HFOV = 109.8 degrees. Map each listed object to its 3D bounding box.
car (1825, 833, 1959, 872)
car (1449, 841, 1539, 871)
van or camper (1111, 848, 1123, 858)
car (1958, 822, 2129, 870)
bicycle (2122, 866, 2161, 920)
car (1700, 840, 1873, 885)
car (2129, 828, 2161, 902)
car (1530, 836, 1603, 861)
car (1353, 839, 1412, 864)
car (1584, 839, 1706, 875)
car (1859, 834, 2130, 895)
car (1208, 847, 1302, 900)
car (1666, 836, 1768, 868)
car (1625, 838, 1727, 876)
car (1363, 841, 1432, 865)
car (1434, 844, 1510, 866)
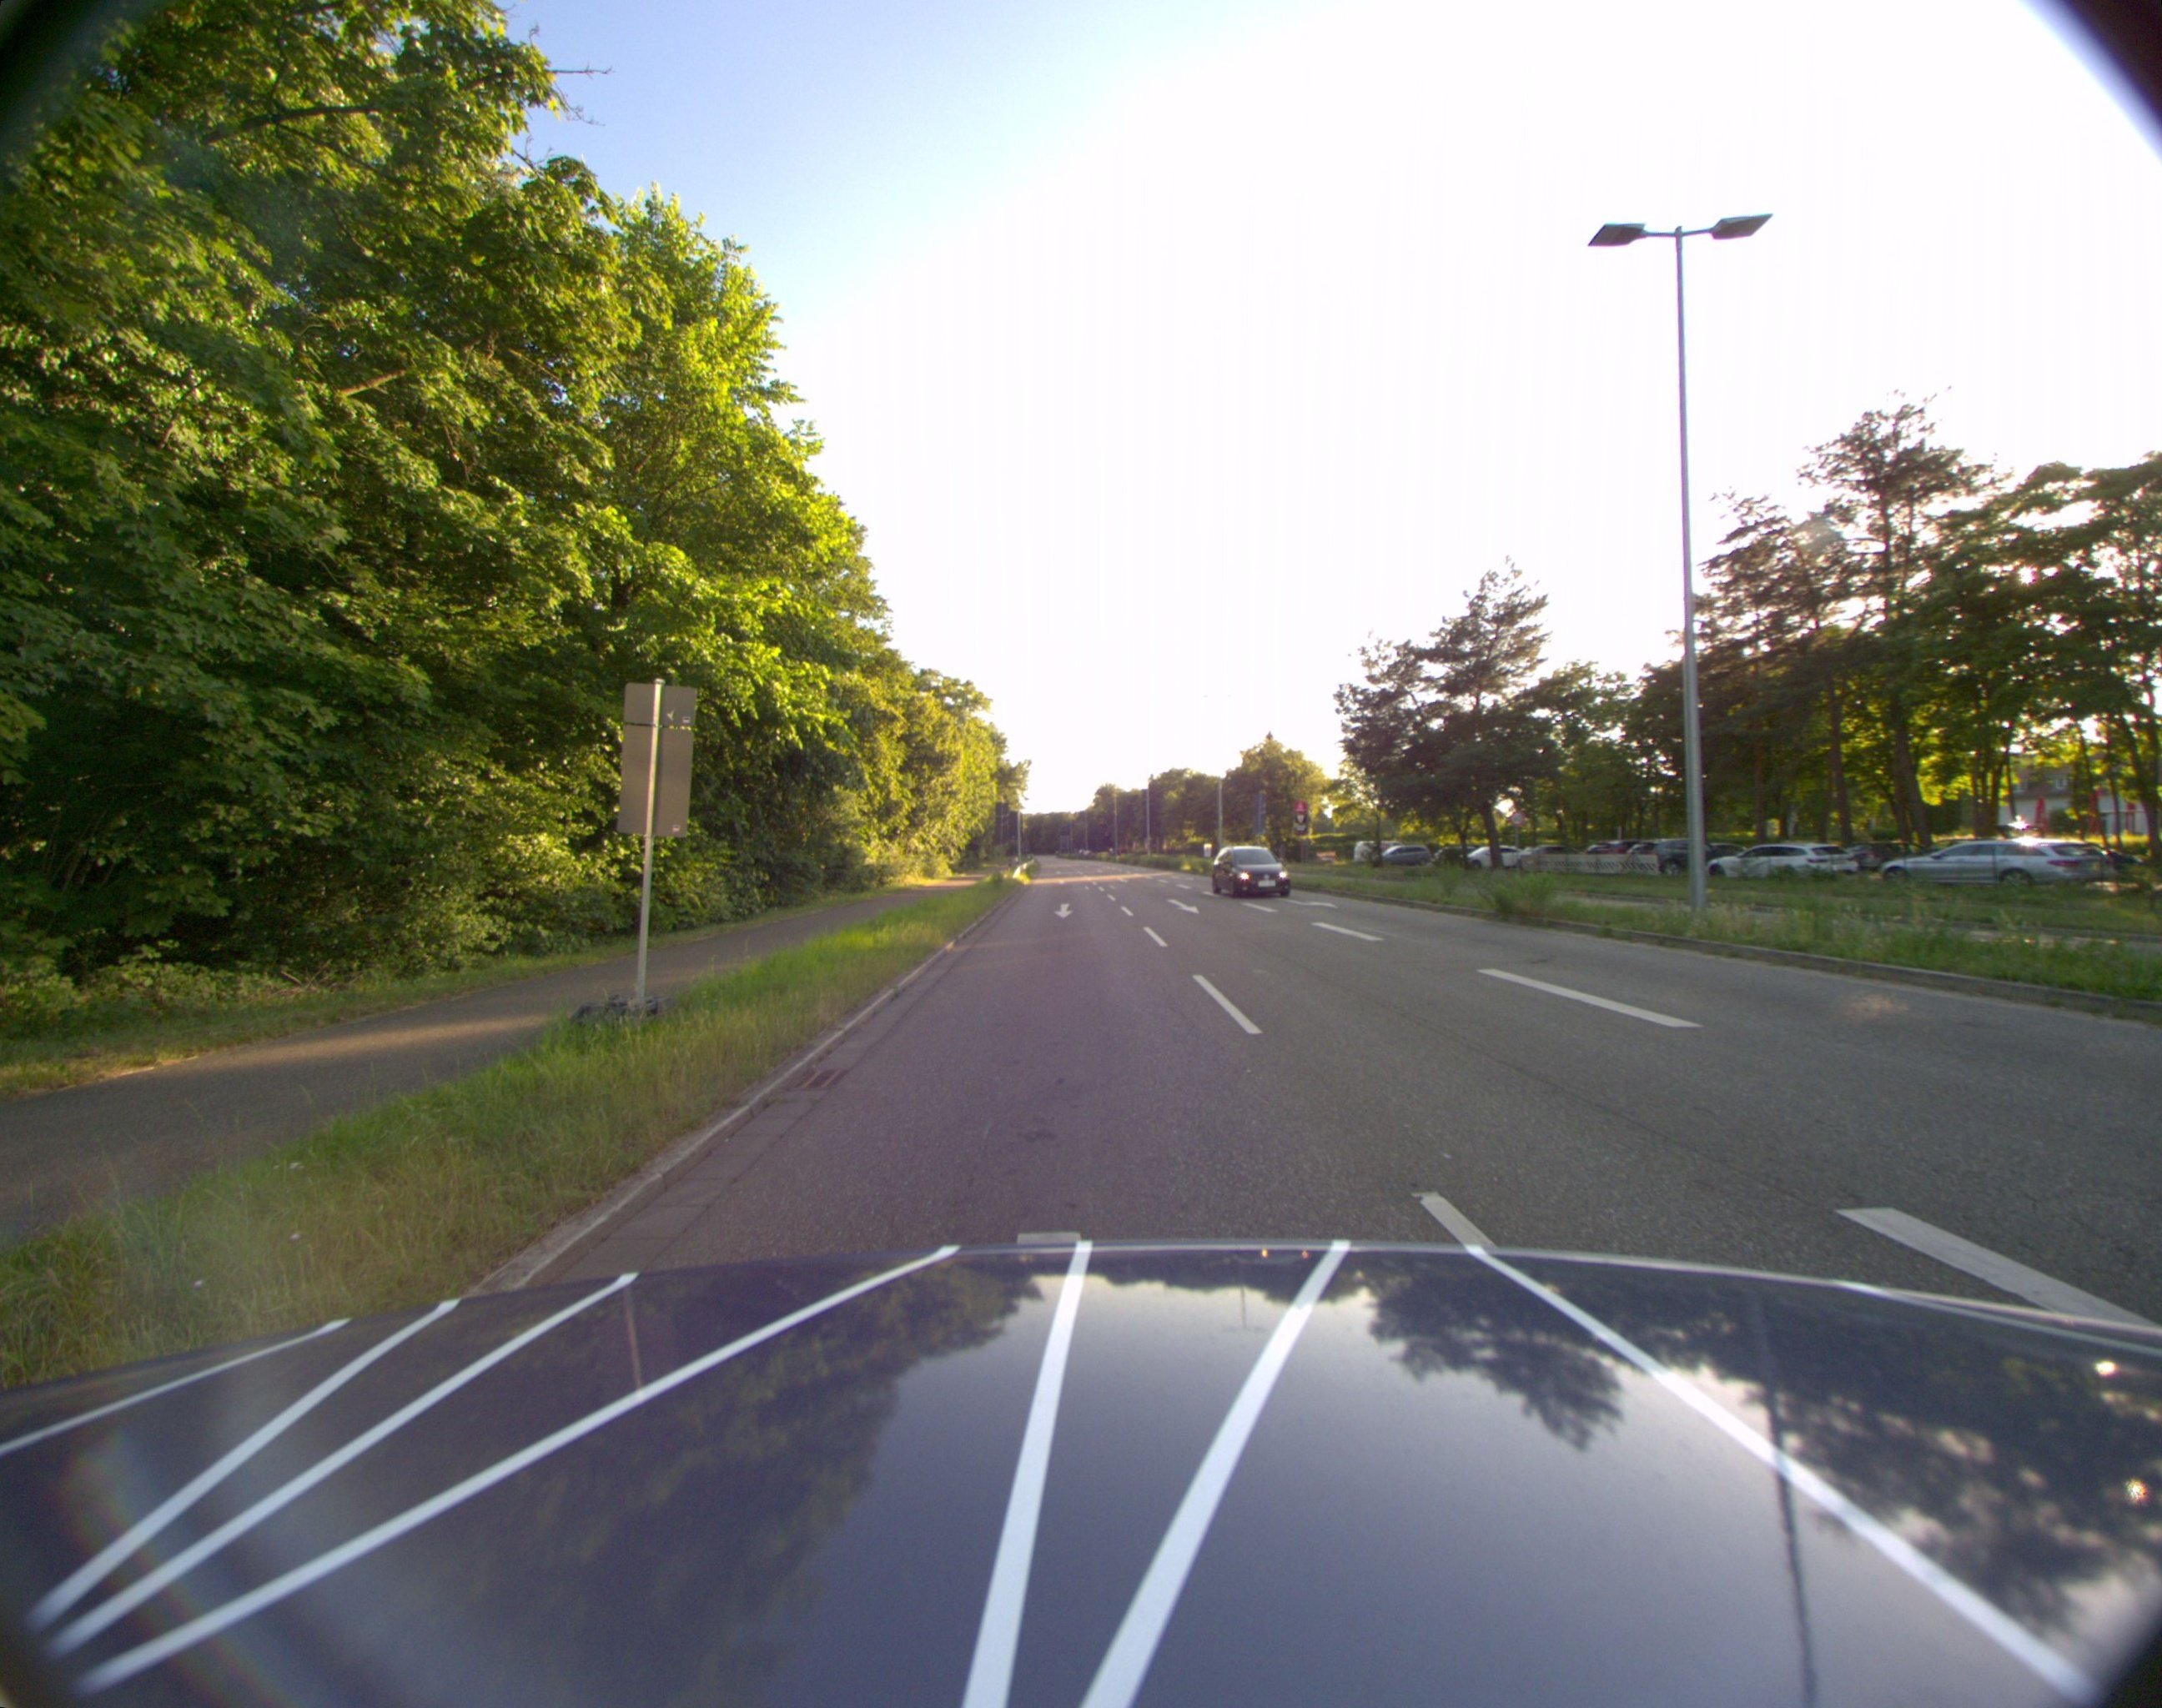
[{"bbox_3d":[35.418,-0.065,33.244,3.997,1.641,1.766,-1,1,-1],"label":"car"},{"bbox_3d":[25.167,0.139,46.403,4.497,1.743,1.909,-1,1,-1],"label":"car"},{"bbox_3d":[7.362,-0.146,155.567,1.999,2.002,4.576,-1,1,-3],"label":"van or camper"},{"bbox_3d":[34.979,-0.279,27.688,3.997,1.641,1.766,-1,1,-1],"label":"car"},{"bbox_3d":[19.592,0.704,13.038,0.493,0.928,2.043,-1,1,-8],"label":"bicycle"},{"bbox_3d":[26.418,0.265,28.733,1.999,1.539,4.708,-1,0,-4],"label":"car"},{"bbox_3d":[27.105,0.265,16.416,1.999,1.776,4.920,-1,1,-4],"label":"car"},{"bbox_3d":[34.118,-0.391,53.480,3.997,1.641,1.766,-1,1,-1],"label":"car"},{"bbox_3d":[24.205,-0.241,61.066,3.998,1.933,1.766,-1,1,-2],"label":"car"},{"bbox_3d":[26.511,0.118,35.777,4.525,1.608,1.771,-1,1,-3],"label":"car"},{"bbox_3d":[26.773,0.253,22.624,1.999,1.597,4.920,-1,0,-4],"label":"car"},{"bbox_3d":[5.446,0.554,24.320,1.999,1.543,3.999,-1,0,-1],"label":"car"},{"bbox_3d":[34.078,-0.112,40.799,3.997,1.641,1.766,-1,1,-1],"label":"car"},{"bbox_3d":[25.552,0.119,32.692,3.099,1.518,1.659,-1,1,-2],"label":"car"},{"bbox_3d":[24.158,-0.088,58.026,4.498,1.787,1.909,-1,1,-2],"label":"car"},{"bbox_3d":[24.996,0.070,48.654,3.997,1.304,1.732,-1,1,-1],"label":"car"}]
